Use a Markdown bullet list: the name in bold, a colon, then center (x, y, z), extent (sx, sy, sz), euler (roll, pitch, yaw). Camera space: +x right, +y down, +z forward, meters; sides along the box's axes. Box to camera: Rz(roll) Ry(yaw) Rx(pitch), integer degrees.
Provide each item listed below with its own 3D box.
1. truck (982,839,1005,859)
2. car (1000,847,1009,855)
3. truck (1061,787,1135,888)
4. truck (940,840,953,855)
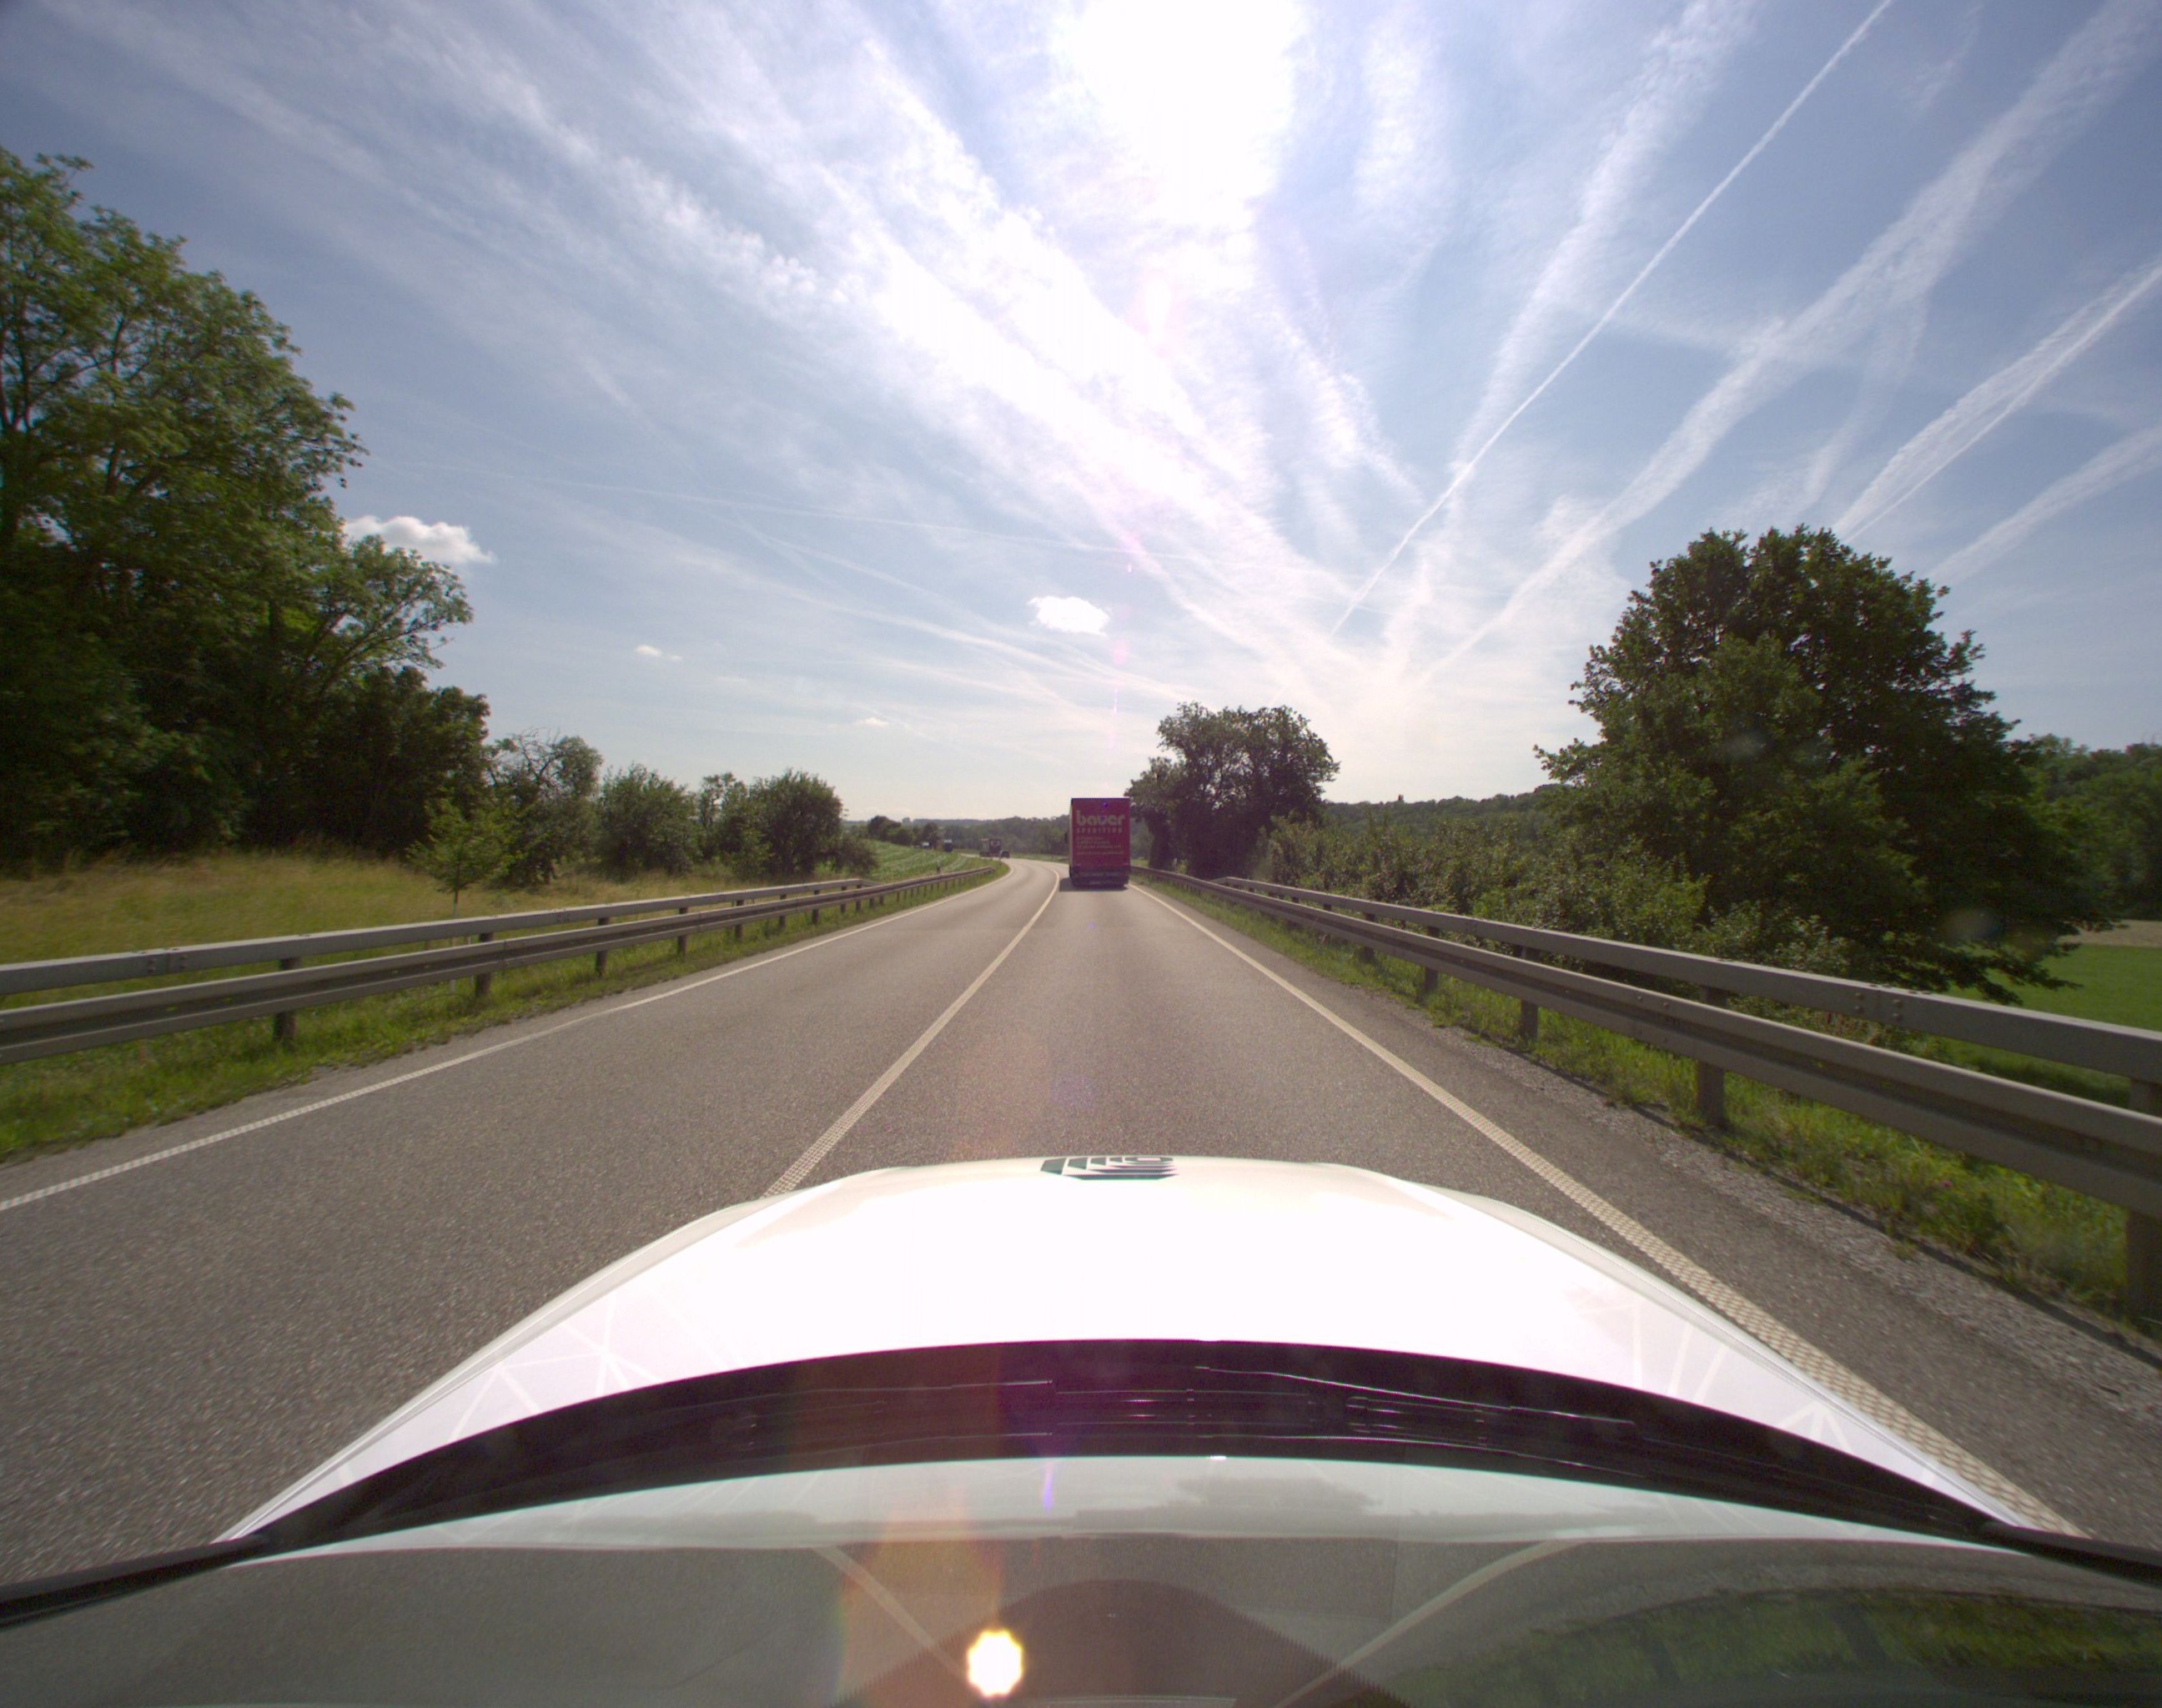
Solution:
- **truck**: center (-19.956, -1.094, 185.195), extent (3.644, 4.292, 11.932), euler (-1, 0, -13)
- **car**: center (-15.309, -0.548, 162.776), extent (1.579, 1.501, 3.870), euler (0, 0, -4)
- **truck**: center (0.915, -0.712, 39.002), extent (3.082, 4.262, 8.319), euler (-1, 0, 3)
- **truck**: center (-38.309, -1.815, 231.617), extent (2.774, 3.998, 16.951), euler (0, 0, -13)
